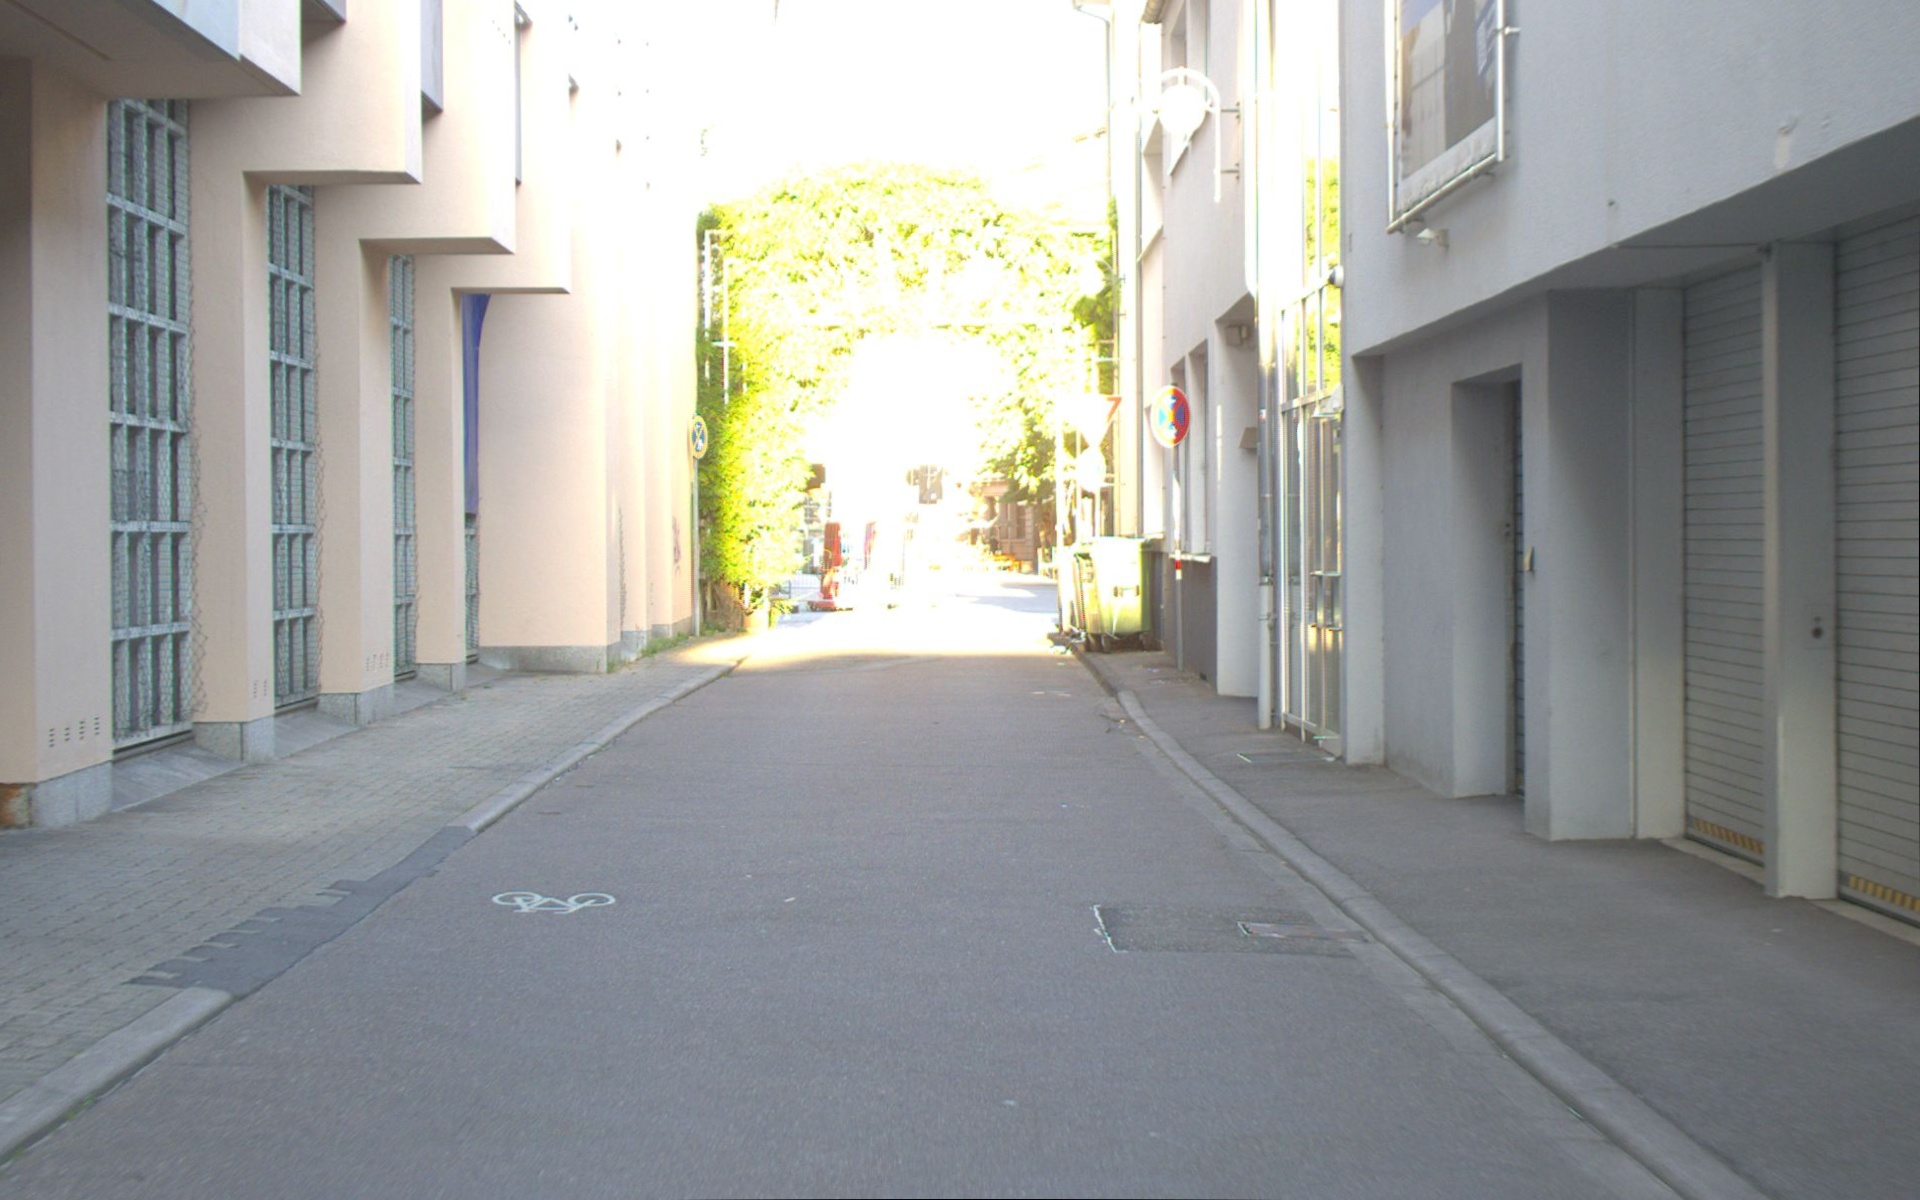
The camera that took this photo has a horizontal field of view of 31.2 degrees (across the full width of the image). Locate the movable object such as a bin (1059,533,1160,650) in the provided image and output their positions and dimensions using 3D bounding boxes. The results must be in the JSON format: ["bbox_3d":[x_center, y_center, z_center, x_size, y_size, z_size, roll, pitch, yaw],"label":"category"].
[{"bbox_3d":[1.827,-0.112,42.259,1.064,1.362,1.342,-3,1,-2],"label":"movable object such as a bin"}]

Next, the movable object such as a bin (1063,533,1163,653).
[{"bbox_3d":[1.807,-0.094,40.854,0.937,1.362,1.342,-3,1,-6],"label":"movable object such as a bin"}]
